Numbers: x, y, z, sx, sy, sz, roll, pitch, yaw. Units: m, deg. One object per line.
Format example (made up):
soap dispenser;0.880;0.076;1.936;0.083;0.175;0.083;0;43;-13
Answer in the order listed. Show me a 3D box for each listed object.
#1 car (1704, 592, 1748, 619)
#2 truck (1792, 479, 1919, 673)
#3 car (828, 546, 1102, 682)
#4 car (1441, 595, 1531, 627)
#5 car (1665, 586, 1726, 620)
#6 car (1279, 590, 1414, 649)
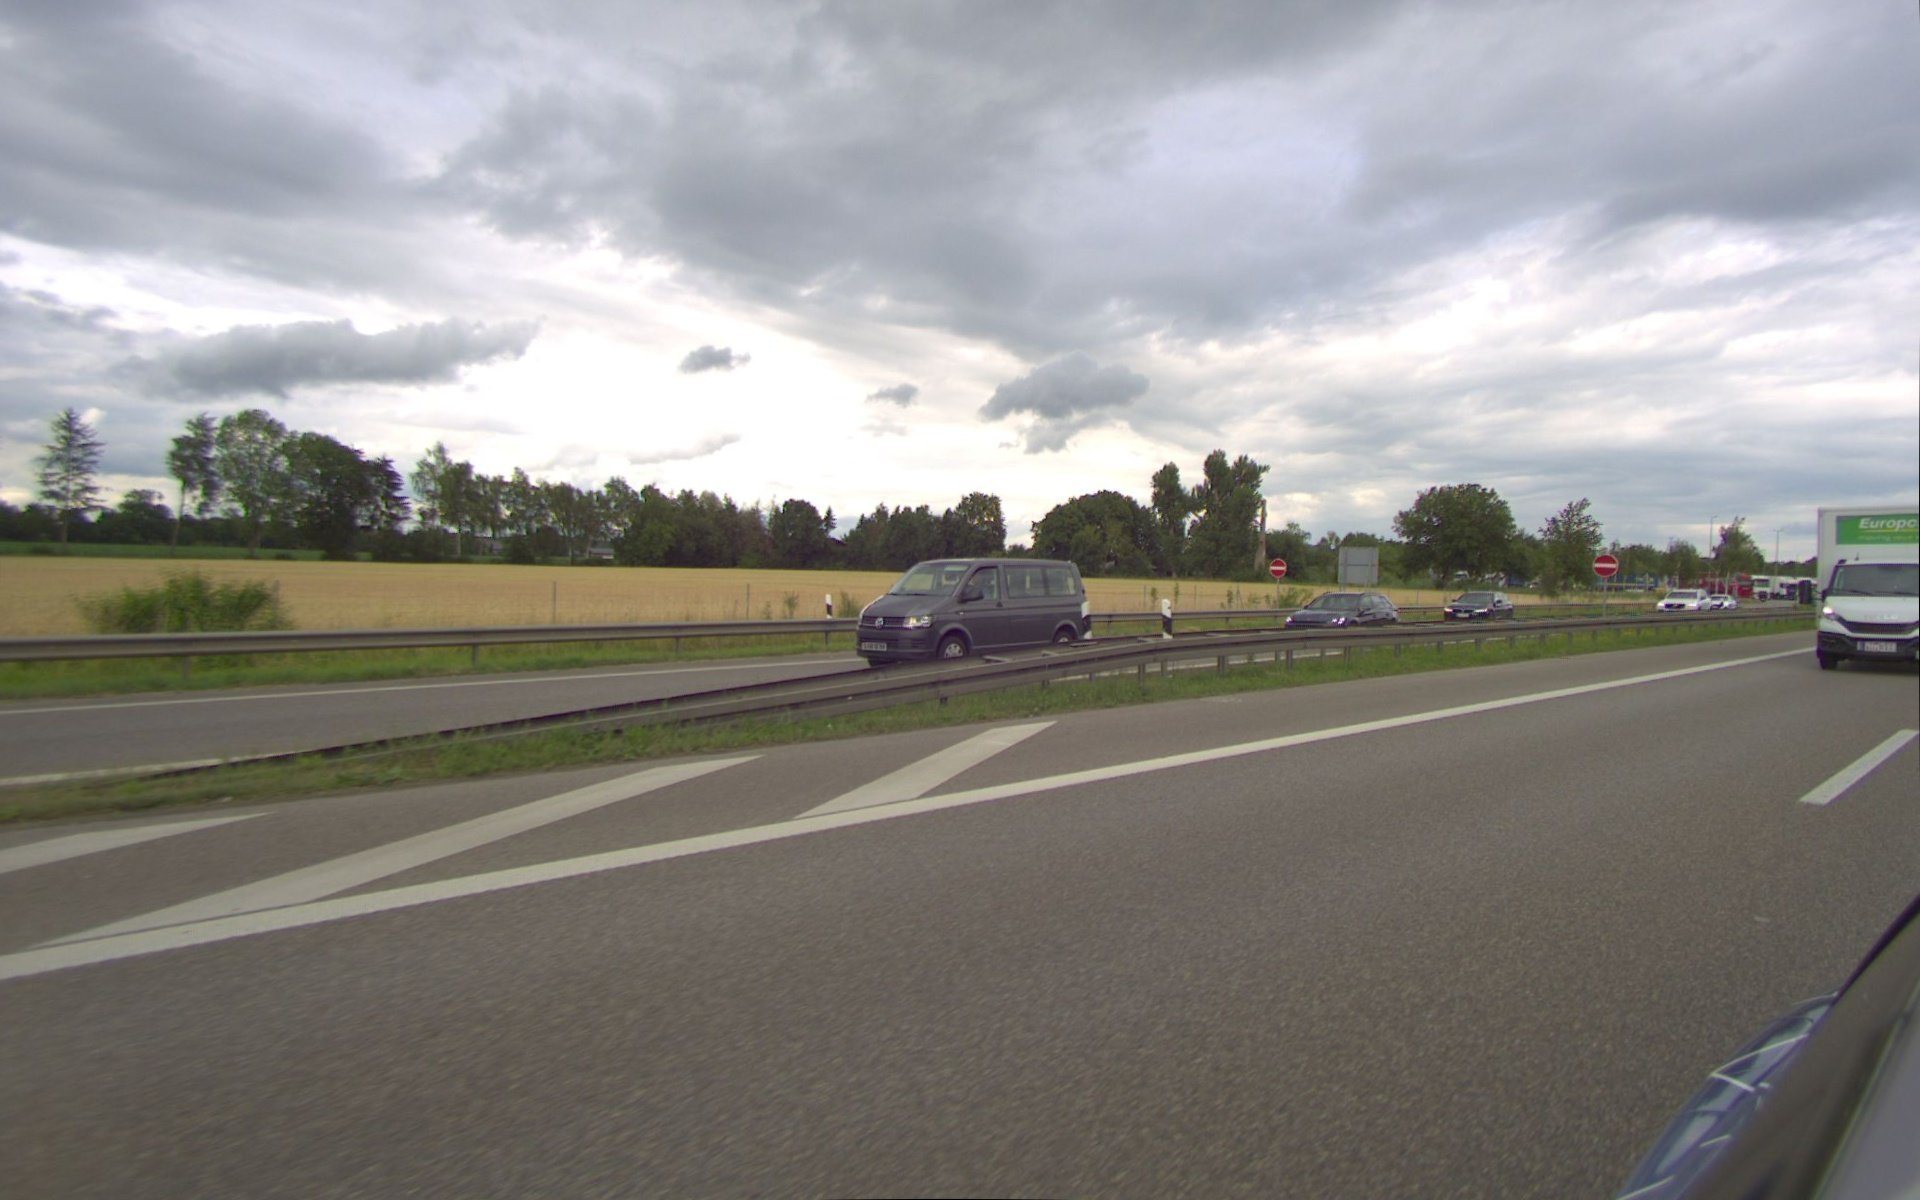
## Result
car;60.551;0.406;79.974;3.930;2.039;1.980;0;0;-41
truck;20.605;-0.453;21.774;8.904;3.549;2.775;0;0;-41
car;0.223;0.194;18.029;2.144;2.089;4.879;1;0;44
car;23.369;0.444;44.869;5.619;1.333;1.829;0;0;-44
car;41.451;0.161;56.974;4.980;1.778;1.830;0;2;-43
car;10.688;0.473;27.810;4.518;1.503;1.751;0;0;-44
